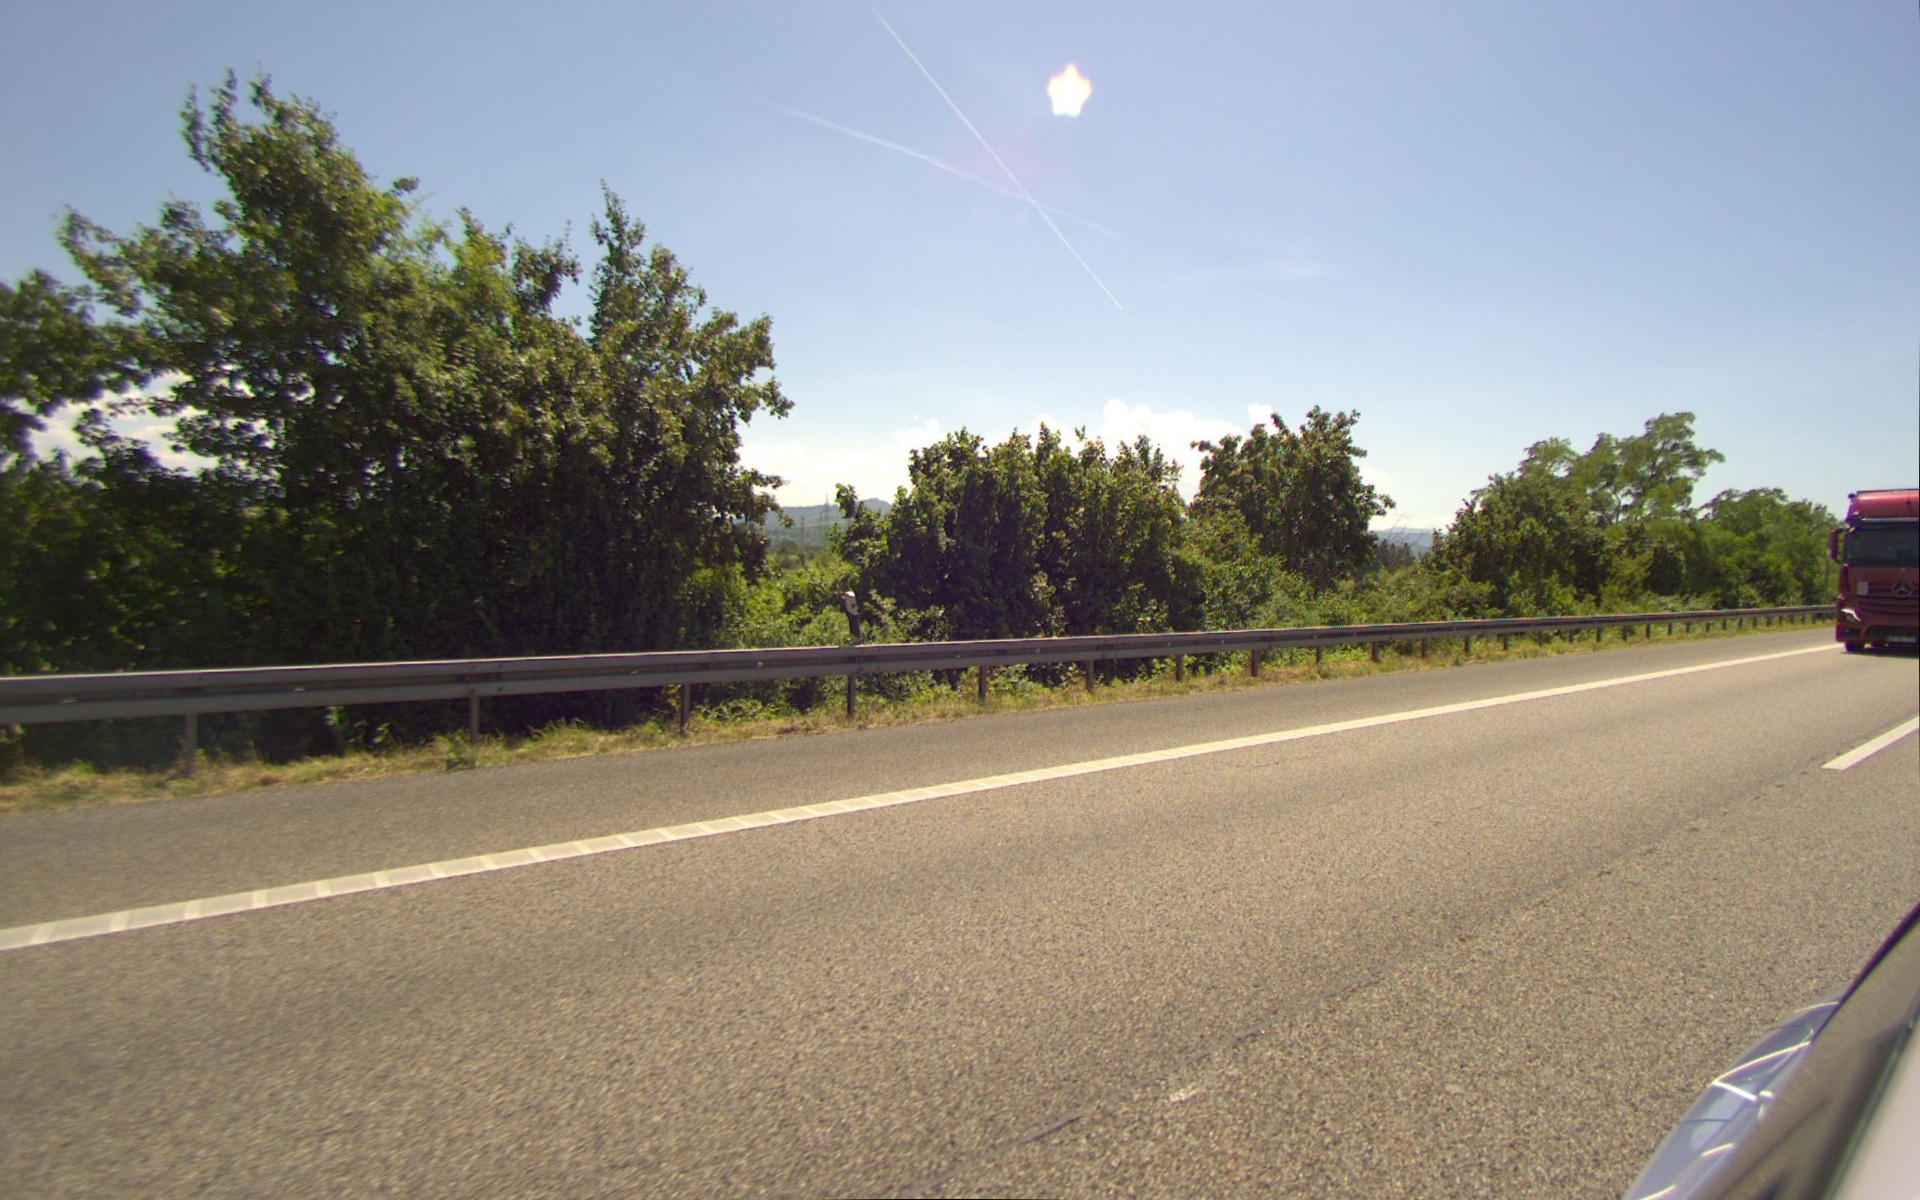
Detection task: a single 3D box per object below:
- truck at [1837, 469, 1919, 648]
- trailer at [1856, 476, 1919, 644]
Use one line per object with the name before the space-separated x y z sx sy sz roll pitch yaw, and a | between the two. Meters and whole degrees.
truck | 24.754 -0.976 25.557 6.840 4.138 2.714 0 3 -40
trailer | 29.165 -1.007 29.206 13.899 4.138 2.714 0 3 -40
